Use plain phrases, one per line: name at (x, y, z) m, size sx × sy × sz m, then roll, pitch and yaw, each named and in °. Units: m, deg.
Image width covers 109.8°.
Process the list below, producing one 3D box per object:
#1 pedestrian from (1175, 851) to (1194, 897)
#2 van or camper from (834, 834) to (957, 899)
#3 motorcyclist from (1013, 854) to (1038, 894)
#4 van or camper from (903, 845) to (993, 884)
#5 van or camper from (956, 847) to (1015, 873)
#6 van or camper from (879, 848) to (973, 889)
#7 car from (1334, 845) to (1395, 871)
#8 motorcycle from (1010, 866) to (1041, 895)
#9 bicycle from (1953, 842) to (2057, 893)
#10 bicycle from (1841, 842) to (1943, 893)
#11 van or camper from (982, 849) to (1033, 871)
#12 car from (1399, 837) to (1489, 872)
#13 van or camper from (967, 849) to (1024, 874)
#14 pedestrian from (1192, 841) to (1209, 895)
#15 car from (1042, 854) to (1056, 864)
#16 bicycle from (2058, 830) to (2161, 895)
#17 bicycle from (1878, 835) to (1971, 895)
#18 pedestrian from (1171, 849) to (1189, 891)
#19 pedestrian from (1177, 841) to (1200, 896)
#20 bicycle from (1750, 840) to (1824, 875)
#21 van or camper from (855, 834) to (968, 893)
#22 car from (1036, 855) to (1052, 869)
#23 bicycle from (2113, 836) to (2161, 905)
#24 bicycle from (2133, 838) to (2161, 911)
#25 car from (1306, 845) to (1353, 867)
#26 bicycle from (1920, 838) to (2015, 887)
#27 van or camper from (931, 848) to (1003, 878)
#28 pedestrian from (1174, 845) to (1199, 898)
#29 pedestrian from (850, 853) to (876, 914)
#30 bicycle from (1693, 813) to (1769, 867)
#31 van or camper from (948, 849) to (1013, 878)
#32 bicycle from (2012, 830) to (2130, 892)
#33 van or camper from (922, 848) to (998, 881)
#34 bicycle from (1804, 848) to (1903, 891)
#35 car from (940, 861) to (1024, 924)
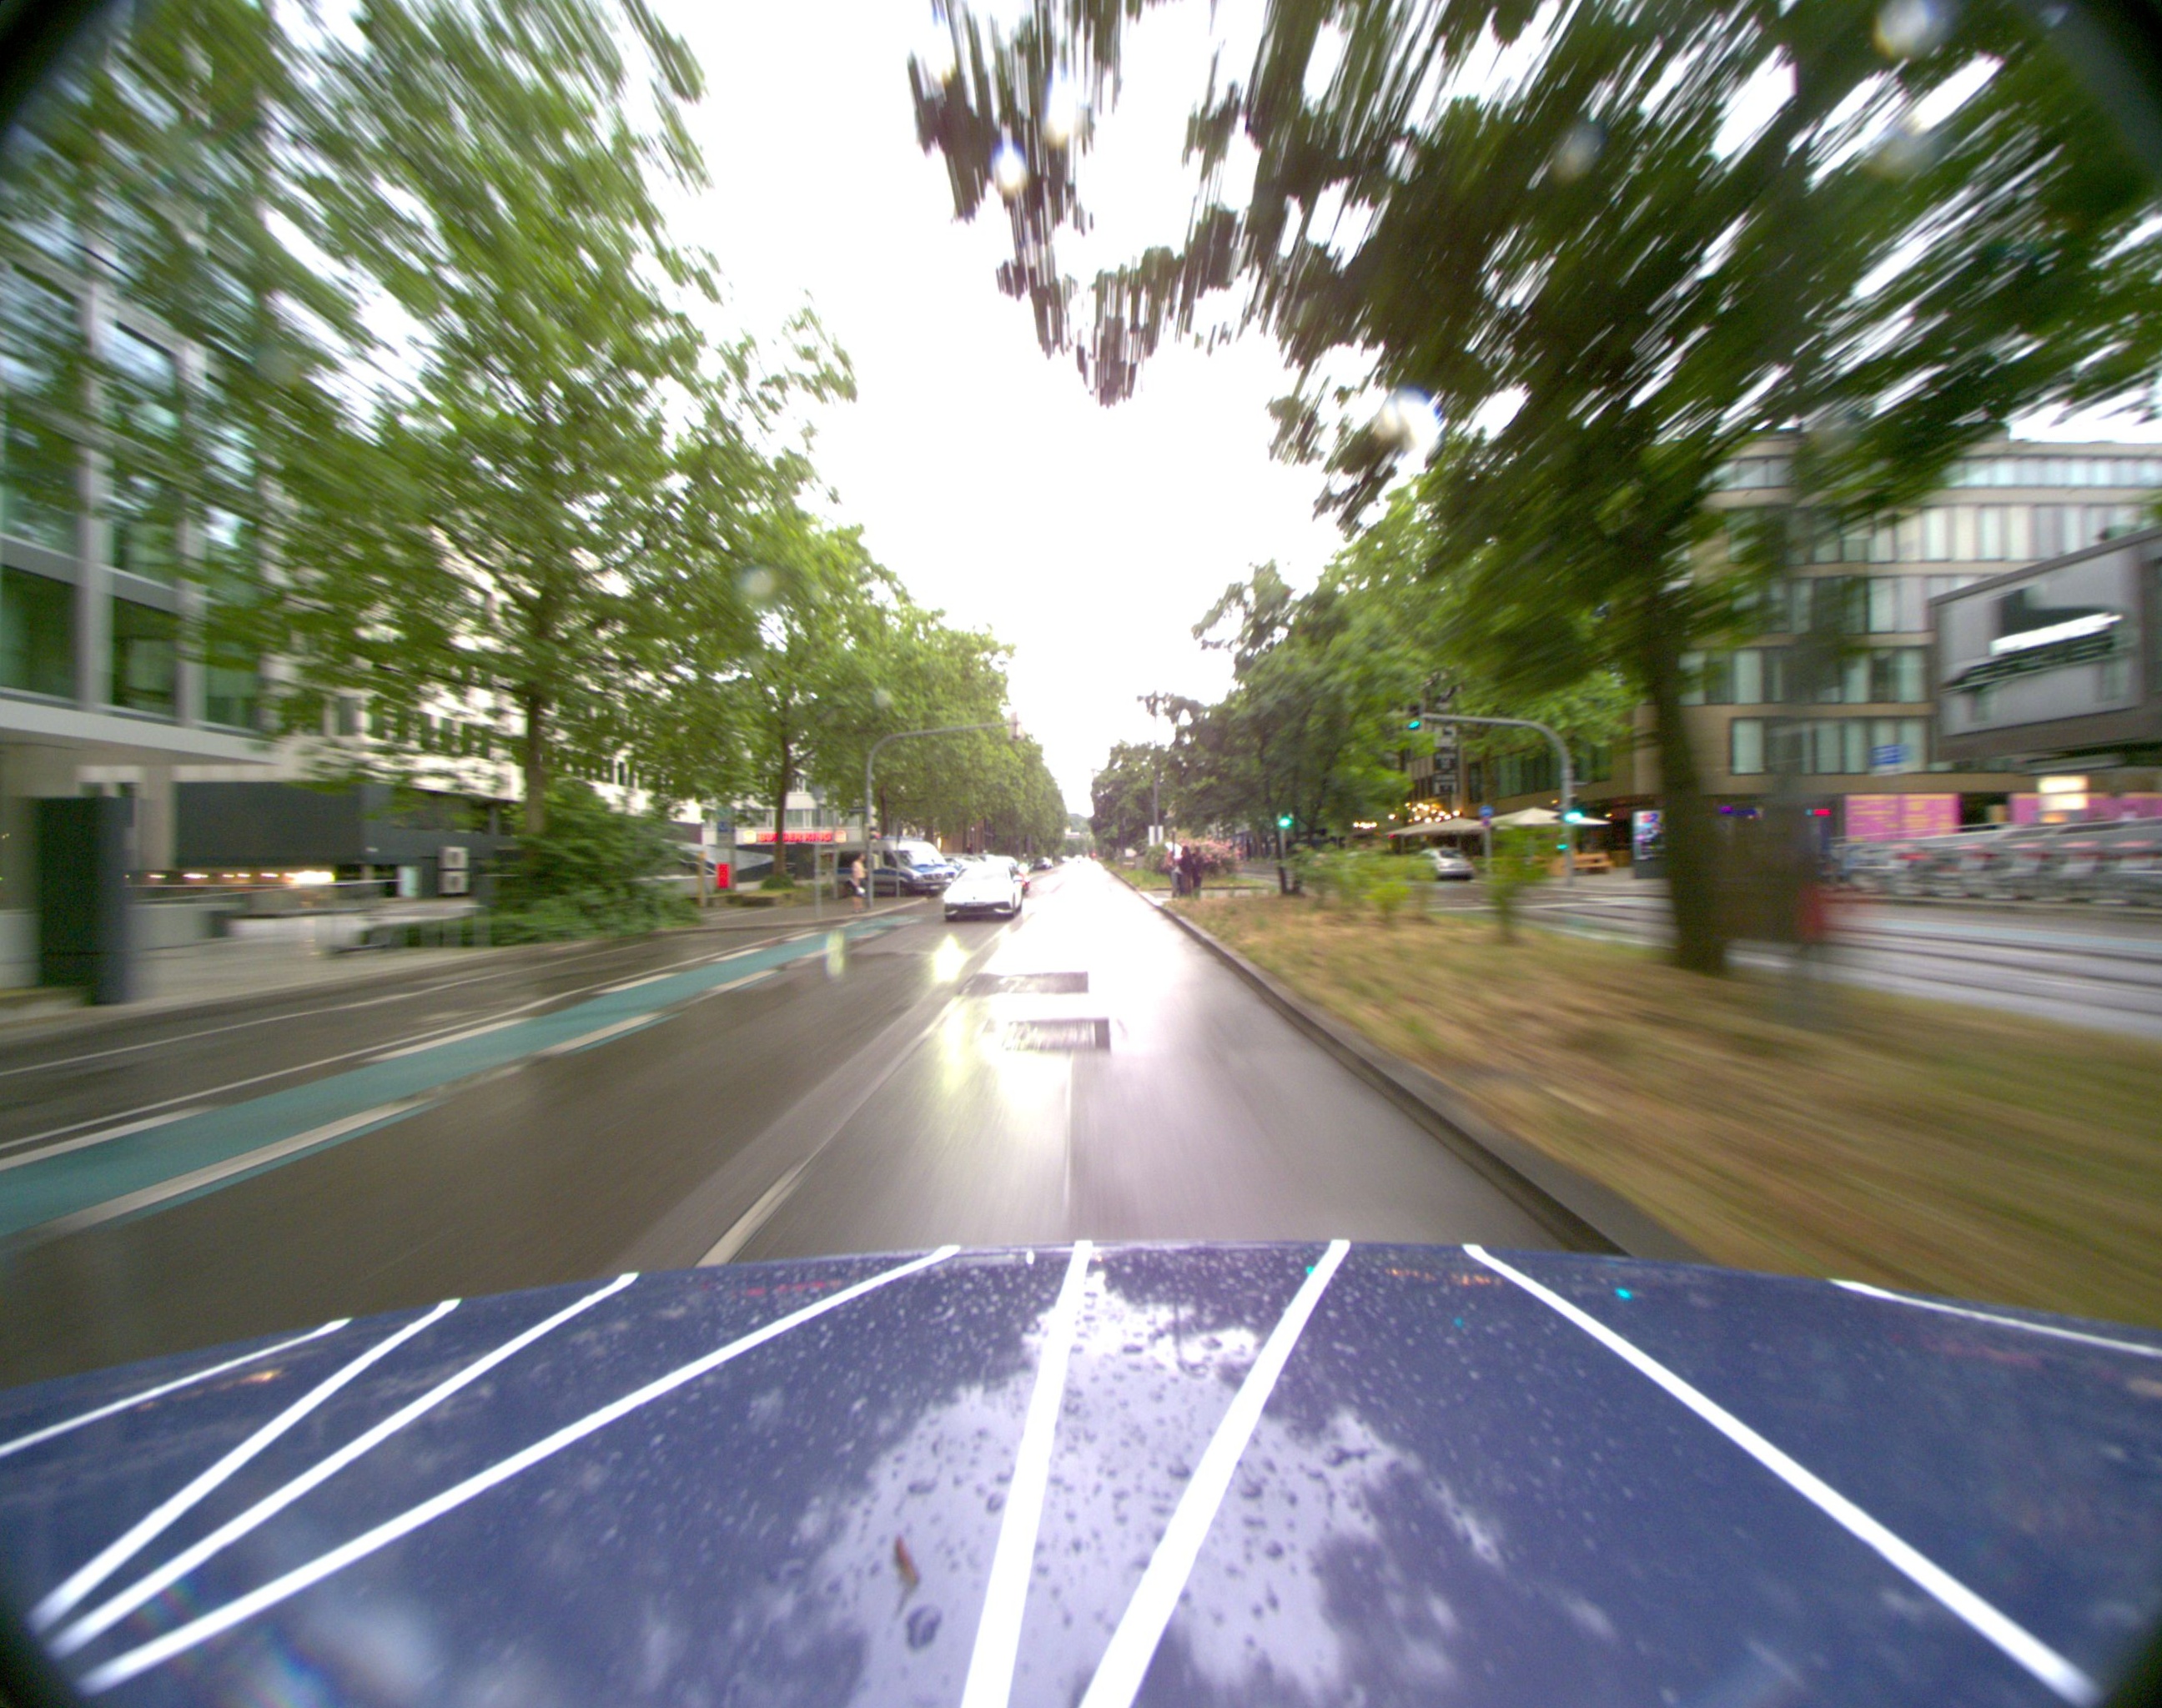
pedestrian at (3.266, 0.623, 23.932) m, size 0.424 × 1.442 × 0.385 m, roll -2°, pitch 1°, yaw -17°
van or camper at (-8.357, 0.558, 33.917) m, size 5.800 × 2.662 × 2.151 m, roll -2°, pitch 1°, yaw 39°
motorcyclist at (-2.388, 0.848, 32.561) m, size 0.850 × 1.635 × 0.870 m, roll -3°, pitch 1°, yaw -17°
van or camper at (-7.755, 0.633, 44.127) m, size 5.195 × 1.981 × 2.003 m, roll -3°, pitch 1°, yaw 36°
van or camper at (-7.808, 0.504, 61.930) m, size 4.841 × 1.986 × 1.871 m, roll -2°, pitch 1°, yaw 38°
van or camper at (-8.263, 0.755, 40.304) m, size 5.003 × 2.002 × 2.003 m, roll -1°, pitch 2°, yaw 37°
car at (17.007, 0.221, 45.802) m, size 1.998 × 1.362 × 4.540 m, roll -4°, pitch 0°, yaw 1°
motorcycle at (-2.386, 1.105, 32.590) m, size 0.869 × 1.136 × 2.019 m, roll -3°, pitch 0°, yaw -17°
bicycle at (18.531, 0.271, 15.243) m, size 1.623 × 0.957 × 0.509 m, roll -2°, pitch 1°, yaw -6°
bicycle at (18.589, 0.302, 17.421) m, size 1.850 × 1.091 × 0.614 m, roll -2°, pitch 1°, yaw -7°
van or camper at (-7.335, 0.648, 75.594) m, size 4.934 × 1.980 × 2.006 m, roll -2°, pitch 1°, yaw 39°
car at (16.970, 0.039, 35.784) m, size 1.999 × 1.500 × 4.517 m, roll -1°, pitch 0°, yaw -1°
van or camper at (-7.771, 0.668, 68.702) m, size 5.075 × 2.007 × 2.001 m, roll -3°, pitch 0°, yaw 38°
pedestrian at (3.813, 0.452, 24.255) m, size 0.400 × 1.710 × 0.325 m, roll -2°, pitch 1°, yaw -13°
car at (-4.887, 0.746, 115.700) m, size 1.747 × 1.424 × 4.586 m, roll -3°, pitch 0°, yaw 1°
bicycle at (18.617, 0.139, 13.559) m, size 1.827 × 1.091 × 0.565 m, roll -2°, pitch 1°, yaw -6°
bicycle at (18.503, 0.237, 16.671) m, size 1.623 × 1.234 × 0.509 m, roll -2°, pitch 1°, yaw -6°
pedestrian at (3.557, 0.554, 27.302) m, size 0.482 × 1.480 × 0.545 m, roll -2°, pitch 1°, yaw 19°
pedestrian at (3.359, 0.435, 23.699) m, size 0.575 × 1.688 × 0.404 m, roll -2°, pitch 1°, yaw -11°
bicycle at (26.957, 0.113, 29.029) m, size 2.393 × 1.240 × 0.689 m, roll -2°, pitch 2°, yaw -6°
van or camper at (-8.369, 0.470, 37.118) m, size 5.796 × 2.665 × 2.004 m, roll -1°, pitch 1°, yaw 36°
car at (-4.920, 1.045, 100.628) m, size 1.797 × 1.593 × 4.423 m, roll -3°, pitch 0°, yaw 0°
bicycle at (18.614, 0.248, 12.817) m, size 1.850 × 1.130 × 0.565 m, roll -2°, pitch 1°, yaw -6°
bicycle at (17.838, 0.305, 11.994) m, size 1.850 × 1.130 × 0.565 m, roll -1°, pitch 0°, yaw -5°
car at (17.120, 0.135, 52.576) m, size 1.829 × 1.386 × 4.483 m, roll -2°, pitch 0°, yaw 1°
bicycle at (18.620, 0.176, 15.966) m, size 1.467 × 0.973 × 0.565 m, roll -2°, pitch 1°, yaw -7°
van or camper at (-8.267, 0.650, 54.858) m, size 5.010 × 1.984 × 2.004 m, roll -1°, pitch 1°, yaw 34°
pedestrian at (3.352, 0.550, 24.110) m, size 0.630 × 1.633 × 0.444 m, roll -2°, pitch 1°, yaw -13°
pedestrian at (-6.636, 0.894, 23.146) m, size 0.607 × 1.820 × 0.564 m, roll -2°, pitch 1°, yaw -8°
bicycle at (26.340, -0.554, 30.804) m, size 2.392 × 2.002 × 0.690 m, roll -4°, pitch 1°, yaw -1°
van or camper at (-7.666, 0.722, 57.931) m, size 4.781 × 1.999 × 2.004 m, roll -2°, pitch 1°, yaw 37°
bicycle at (18.616, 0.122, 14.300) m, size 1.674 × 1.085 × 0.565 m, roll -2°, pitch 1°, yaw -6°
van or camper at (-8.171, 0.726, 50.945) m, size 5.093 × 2.013 × 2.110 m, roll -2°, pitch 0°, yaw 39°
bicycle at (18.599, 0.369, 18.306) m, size 1.849 × 0.973 × 0.566 m, roll -2°, pitch 1°, yaw -2°
car at (-2.589, 0.952, 20.860) m, size 1.867 × 1.436 × 4.508 m, roll -3°, pitch 0°, yaw -3°
